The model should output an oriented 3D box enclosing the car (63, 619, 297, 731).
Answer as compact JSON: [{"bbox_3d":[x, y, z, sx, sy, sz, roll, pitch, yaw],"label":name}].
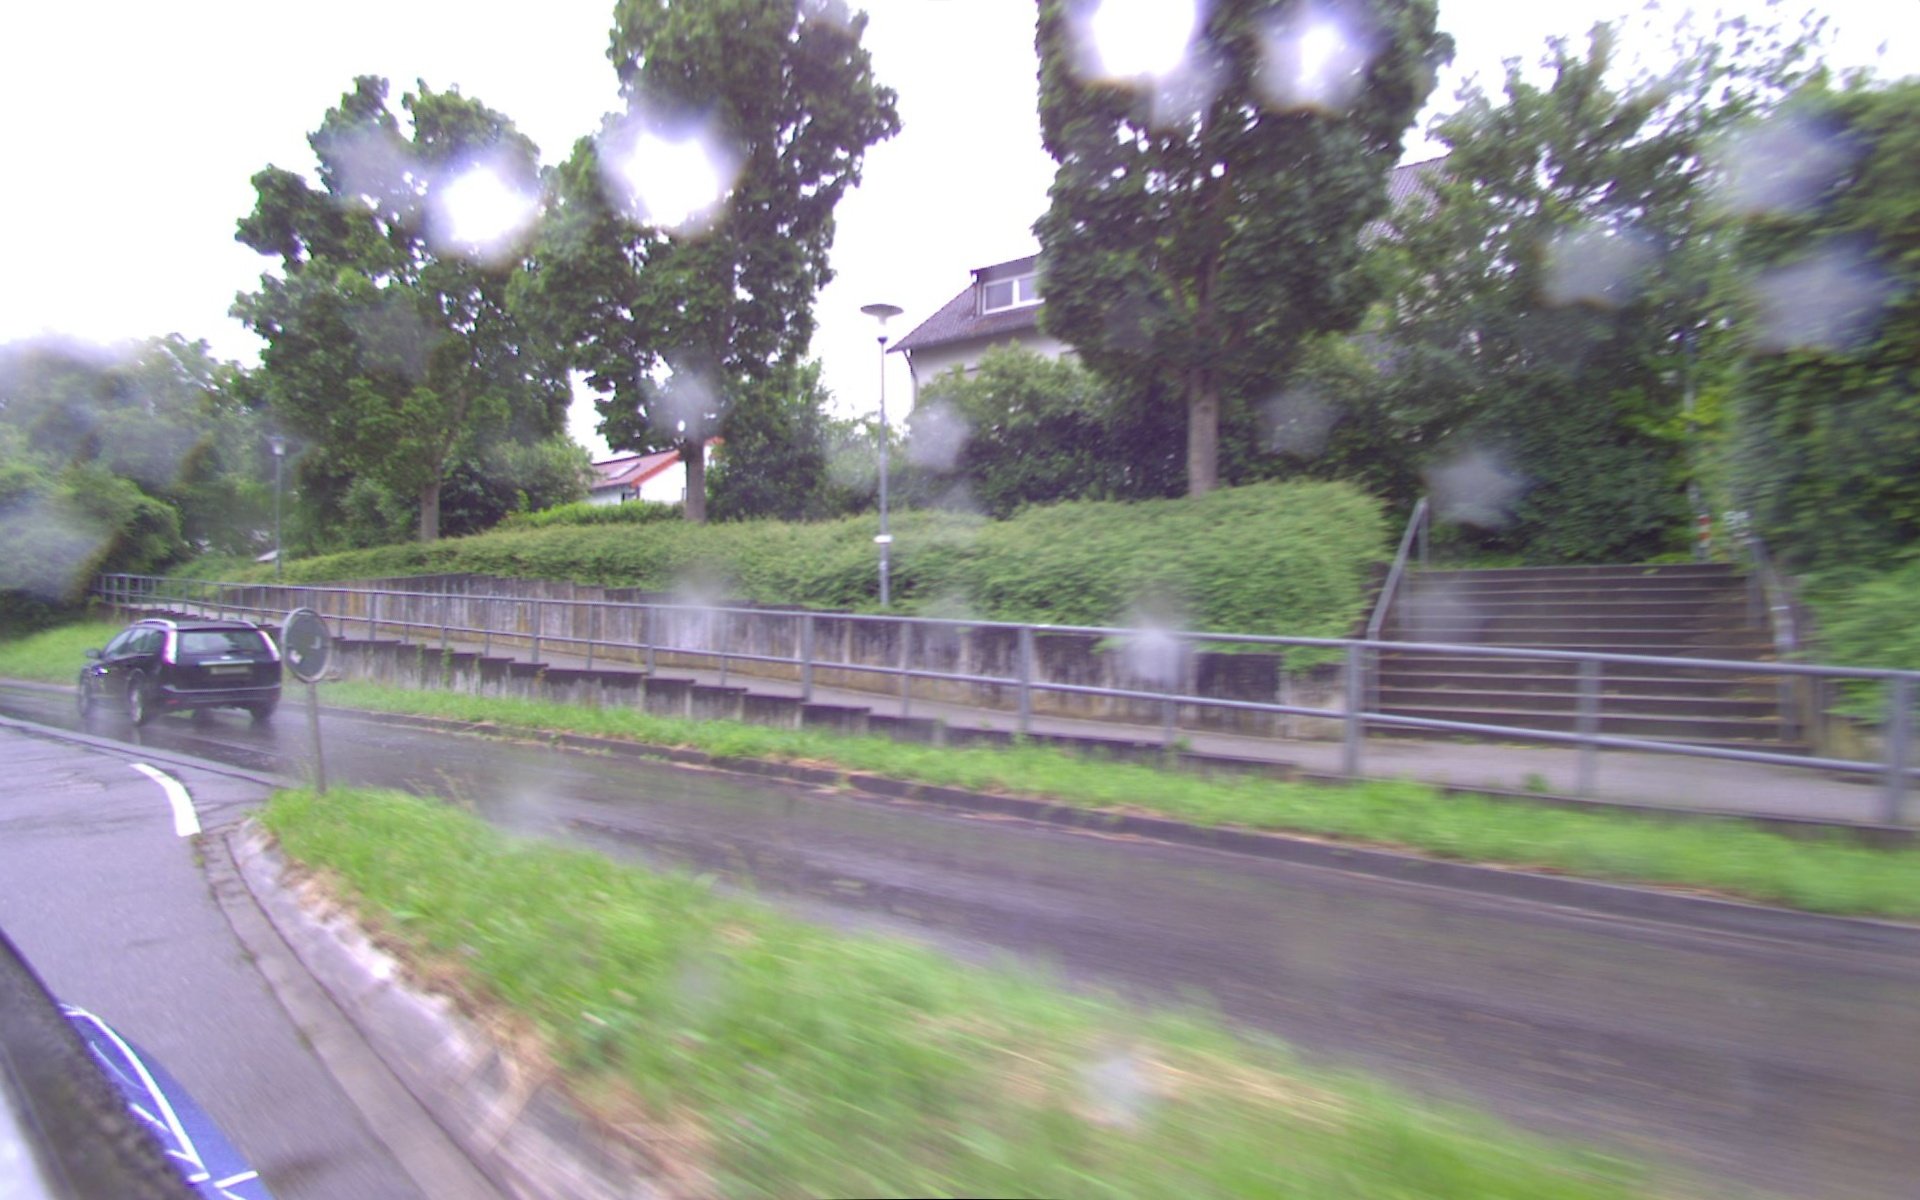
[{"bbox_3d":[-12.145,1.081,15.686,4.133,1.514,1.745,-1,-3,36],"label":"car"}]
